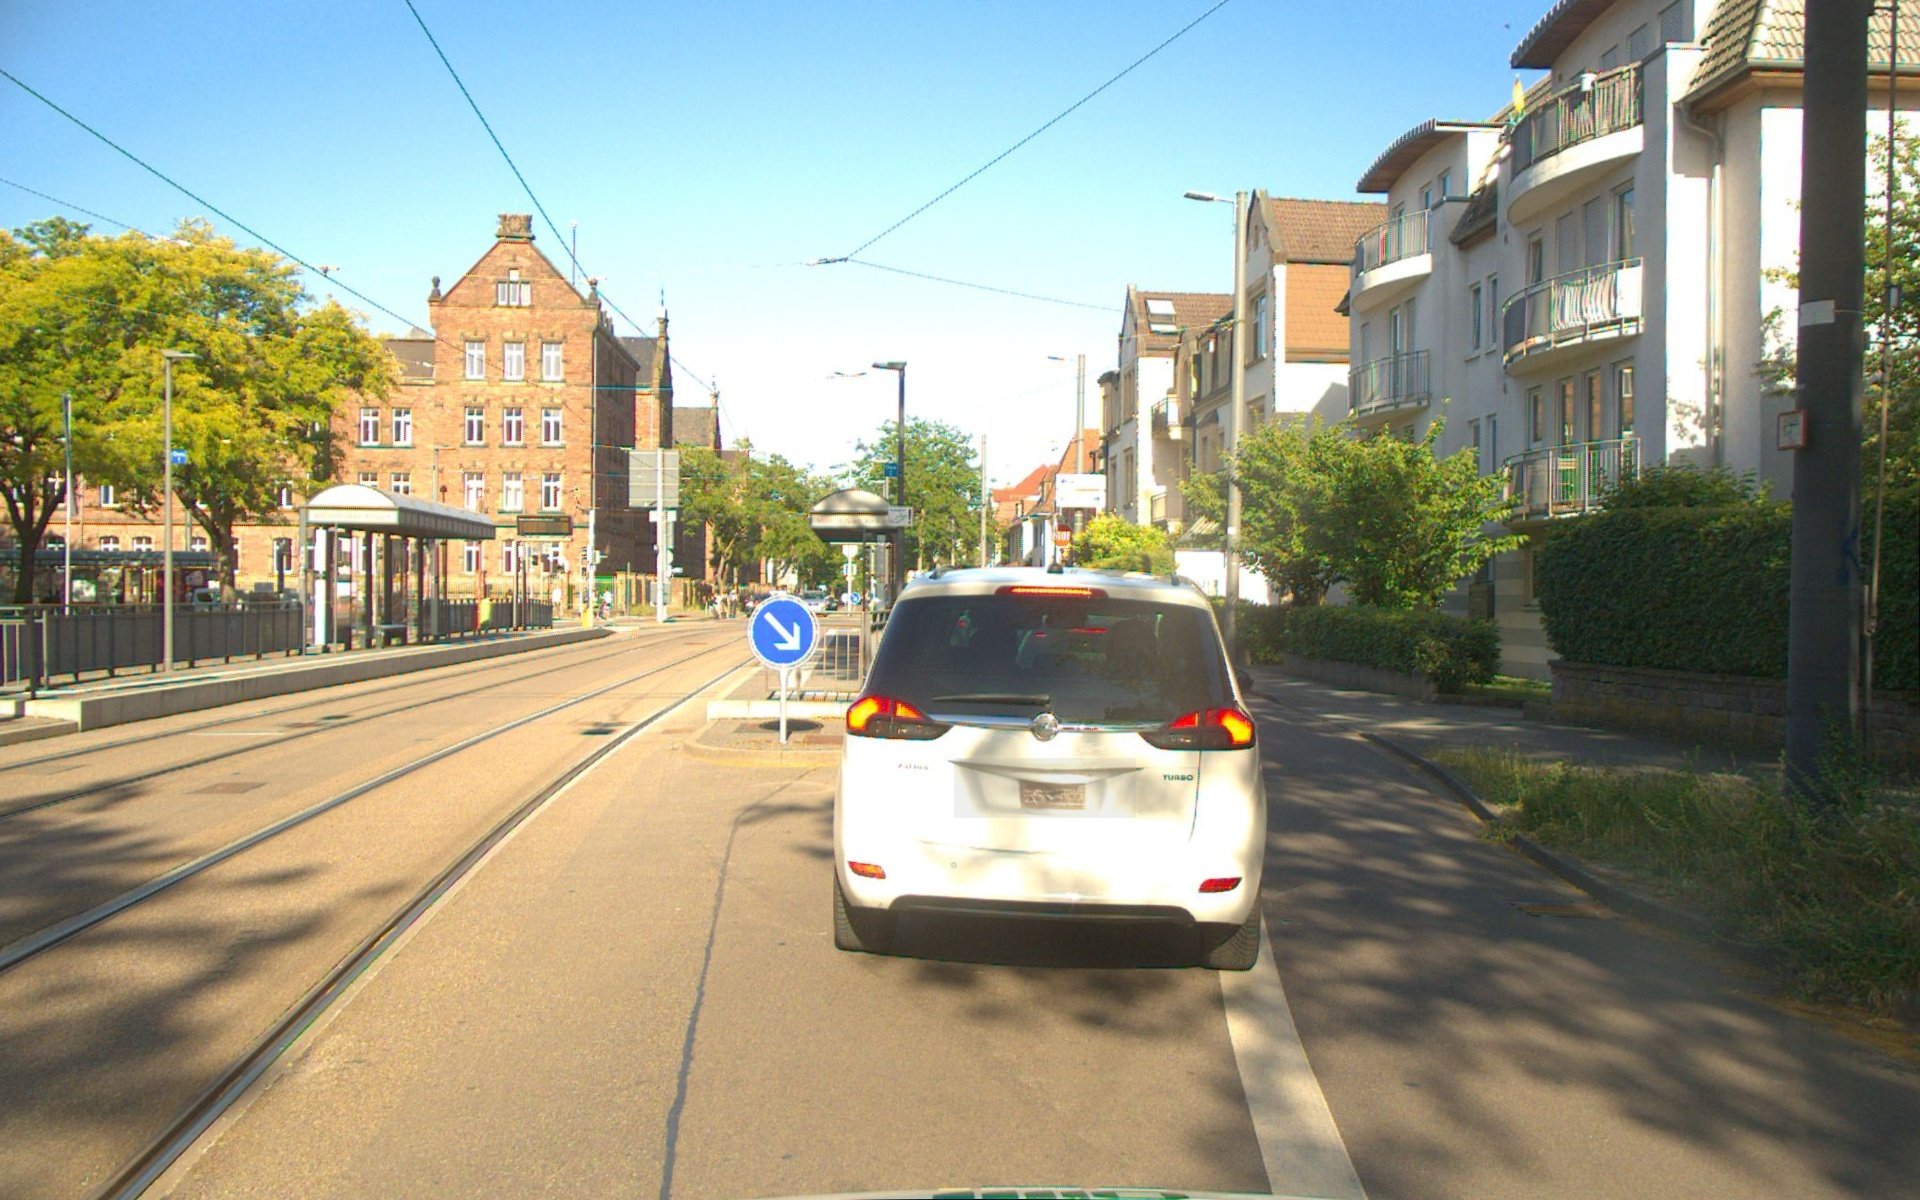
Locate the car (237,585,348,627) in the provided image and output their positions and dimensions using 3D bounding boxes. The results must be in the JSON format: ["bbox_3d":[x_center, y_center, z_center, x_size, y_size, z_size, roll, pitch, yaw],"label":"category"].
[{"bbox_3d":[-28.112,0.258,69.749,3.908,1.658,1.817,1,0,-4],"label":"car"}]

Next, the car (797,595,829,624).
[{"bbox_3d":[-9.430,0.603,106.058,1.711,1.746,3.999,1,0,-1],"label":"car"}]

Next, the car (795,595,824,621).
[{"bbox_3d":[-10.464,0.585,115.046,1.711,1.746,3.999,1,0,-1],"label":"car"}]

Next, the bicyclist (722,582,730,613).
[{"bbox_3d":[-15.386,-0.159,108.773,0.488,2.049,0.572,0,0,-1],"label":"bicyclist"}]

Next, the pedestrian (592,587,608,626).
[{"bbox_3d":[-19.103,0.365,87.747,0.781,2.049,1.042,1,-1,-15],"label":"pedestrian"}]

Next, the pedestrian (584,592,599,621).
[{"bbox_3d":[-21.144,0.358,94.985,0.640,1.640,0.711,1,-1,1],"label":"pedestrian"}]

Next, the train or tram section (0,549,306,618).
[{"bbox_3d":[-40.745,-0.772,79.425,17.048,3.210,3.343,0,0,-6],"label":"train or tram section"}]

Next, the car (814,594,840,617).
[{"bbox_3d":[-10.349,0.429,128.901,1.711,1.746,3.999,1,0,-1],"label":"car"}]

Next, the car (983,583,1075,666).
[{"bbox_3d":[1.448,0.495,36.121,1.868,1.690,4.000,0,0,0],"label":"car"}]

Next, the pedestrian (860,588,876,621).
[{"bbox_3d":[-5.568,0.265,99.893,0.732,1.934,0.804,1,-1,-25],"label":"pedestrian"}]

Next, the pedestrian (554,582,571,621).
[{"bbox_3d":[-21.500,0.082,89.402,0.675,2.049,0.618,1,-1,5],"label":"pedestrian"}]

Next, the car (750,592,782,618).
[{"bbox_3d":[-13.300,0.344,113.500,1.711,1.746,3.999,1,0,-1],"label":"car"}]

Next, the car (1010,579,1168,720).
[{"bbox_3d":[1.750,0.577,21.627,1.866,1.653,4.003,0,0,6],"label":"car"}]

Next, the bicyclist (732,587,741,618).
[{"bbox_3d":[-15.042,0.190,111.327,0.478,2.049,0.502,1,-1,-1],"label":"bicyclist"}]

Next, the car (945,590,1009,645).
[{"bbox_3d":[0.505,0.546,53.084,1.869,1.690,3.998,0,0,-2],"label":"car"}]

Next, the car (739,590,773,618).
[{"bbox_3d":[-13.154,0.285,106.791,1.711,1.746,3.999,1,0,-1],"label":"car"}]

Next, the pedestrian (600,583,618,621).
[{"bbox_3d":[-18.915,0.109,89.041,0.784,2.049,0.715,1,-1,-24],"label":"pedestrian"}]

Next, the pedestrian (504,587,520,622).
[{"bbox_3d":[-23.136,0.247,85.358,0.754,1.805,0.717,1,-1,-18],"label":"pedestrian"}]

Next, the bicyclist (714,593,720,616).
[{"bbox_3d":[-15.103,0.279,102.718,0.307,1.469,0.384,0,0,-1],"label":"bicyclist"}]

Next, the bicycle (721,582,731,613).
[{"bbox_3d":[-15.387,-0.159,108.776,0.477,2.049,1.405,0,0,-1],"label":"bicycle"}]

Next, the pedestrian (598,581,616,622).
[{"bbox_3d":[-18.078,0.078,84.694,0.782,2.049,0.717,1,-1,-18],"label":"pedestrian"}]

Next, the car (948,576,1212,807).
[{"bbox_3d":[1.069,0.640,13.776,1.866,1.625,4.003,0,0,6],"label":"car"}]

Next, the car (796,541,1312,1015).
[{"bbox_3d":[0.547,0.624,8.002,1.866,1.690,4.003,0,0,6],"label":"car"}]

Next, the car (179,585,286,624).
[{"bbox_3d":[-32.443,0.210,73.822,3.908,1.658,1.817,1,0,-4],"label":"car"}]

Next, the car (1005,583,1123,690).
[{"bbox_3d":[1.790,0.569,28.288,1.867,1.690,4.002,0,0,4],"label":"car"}]
